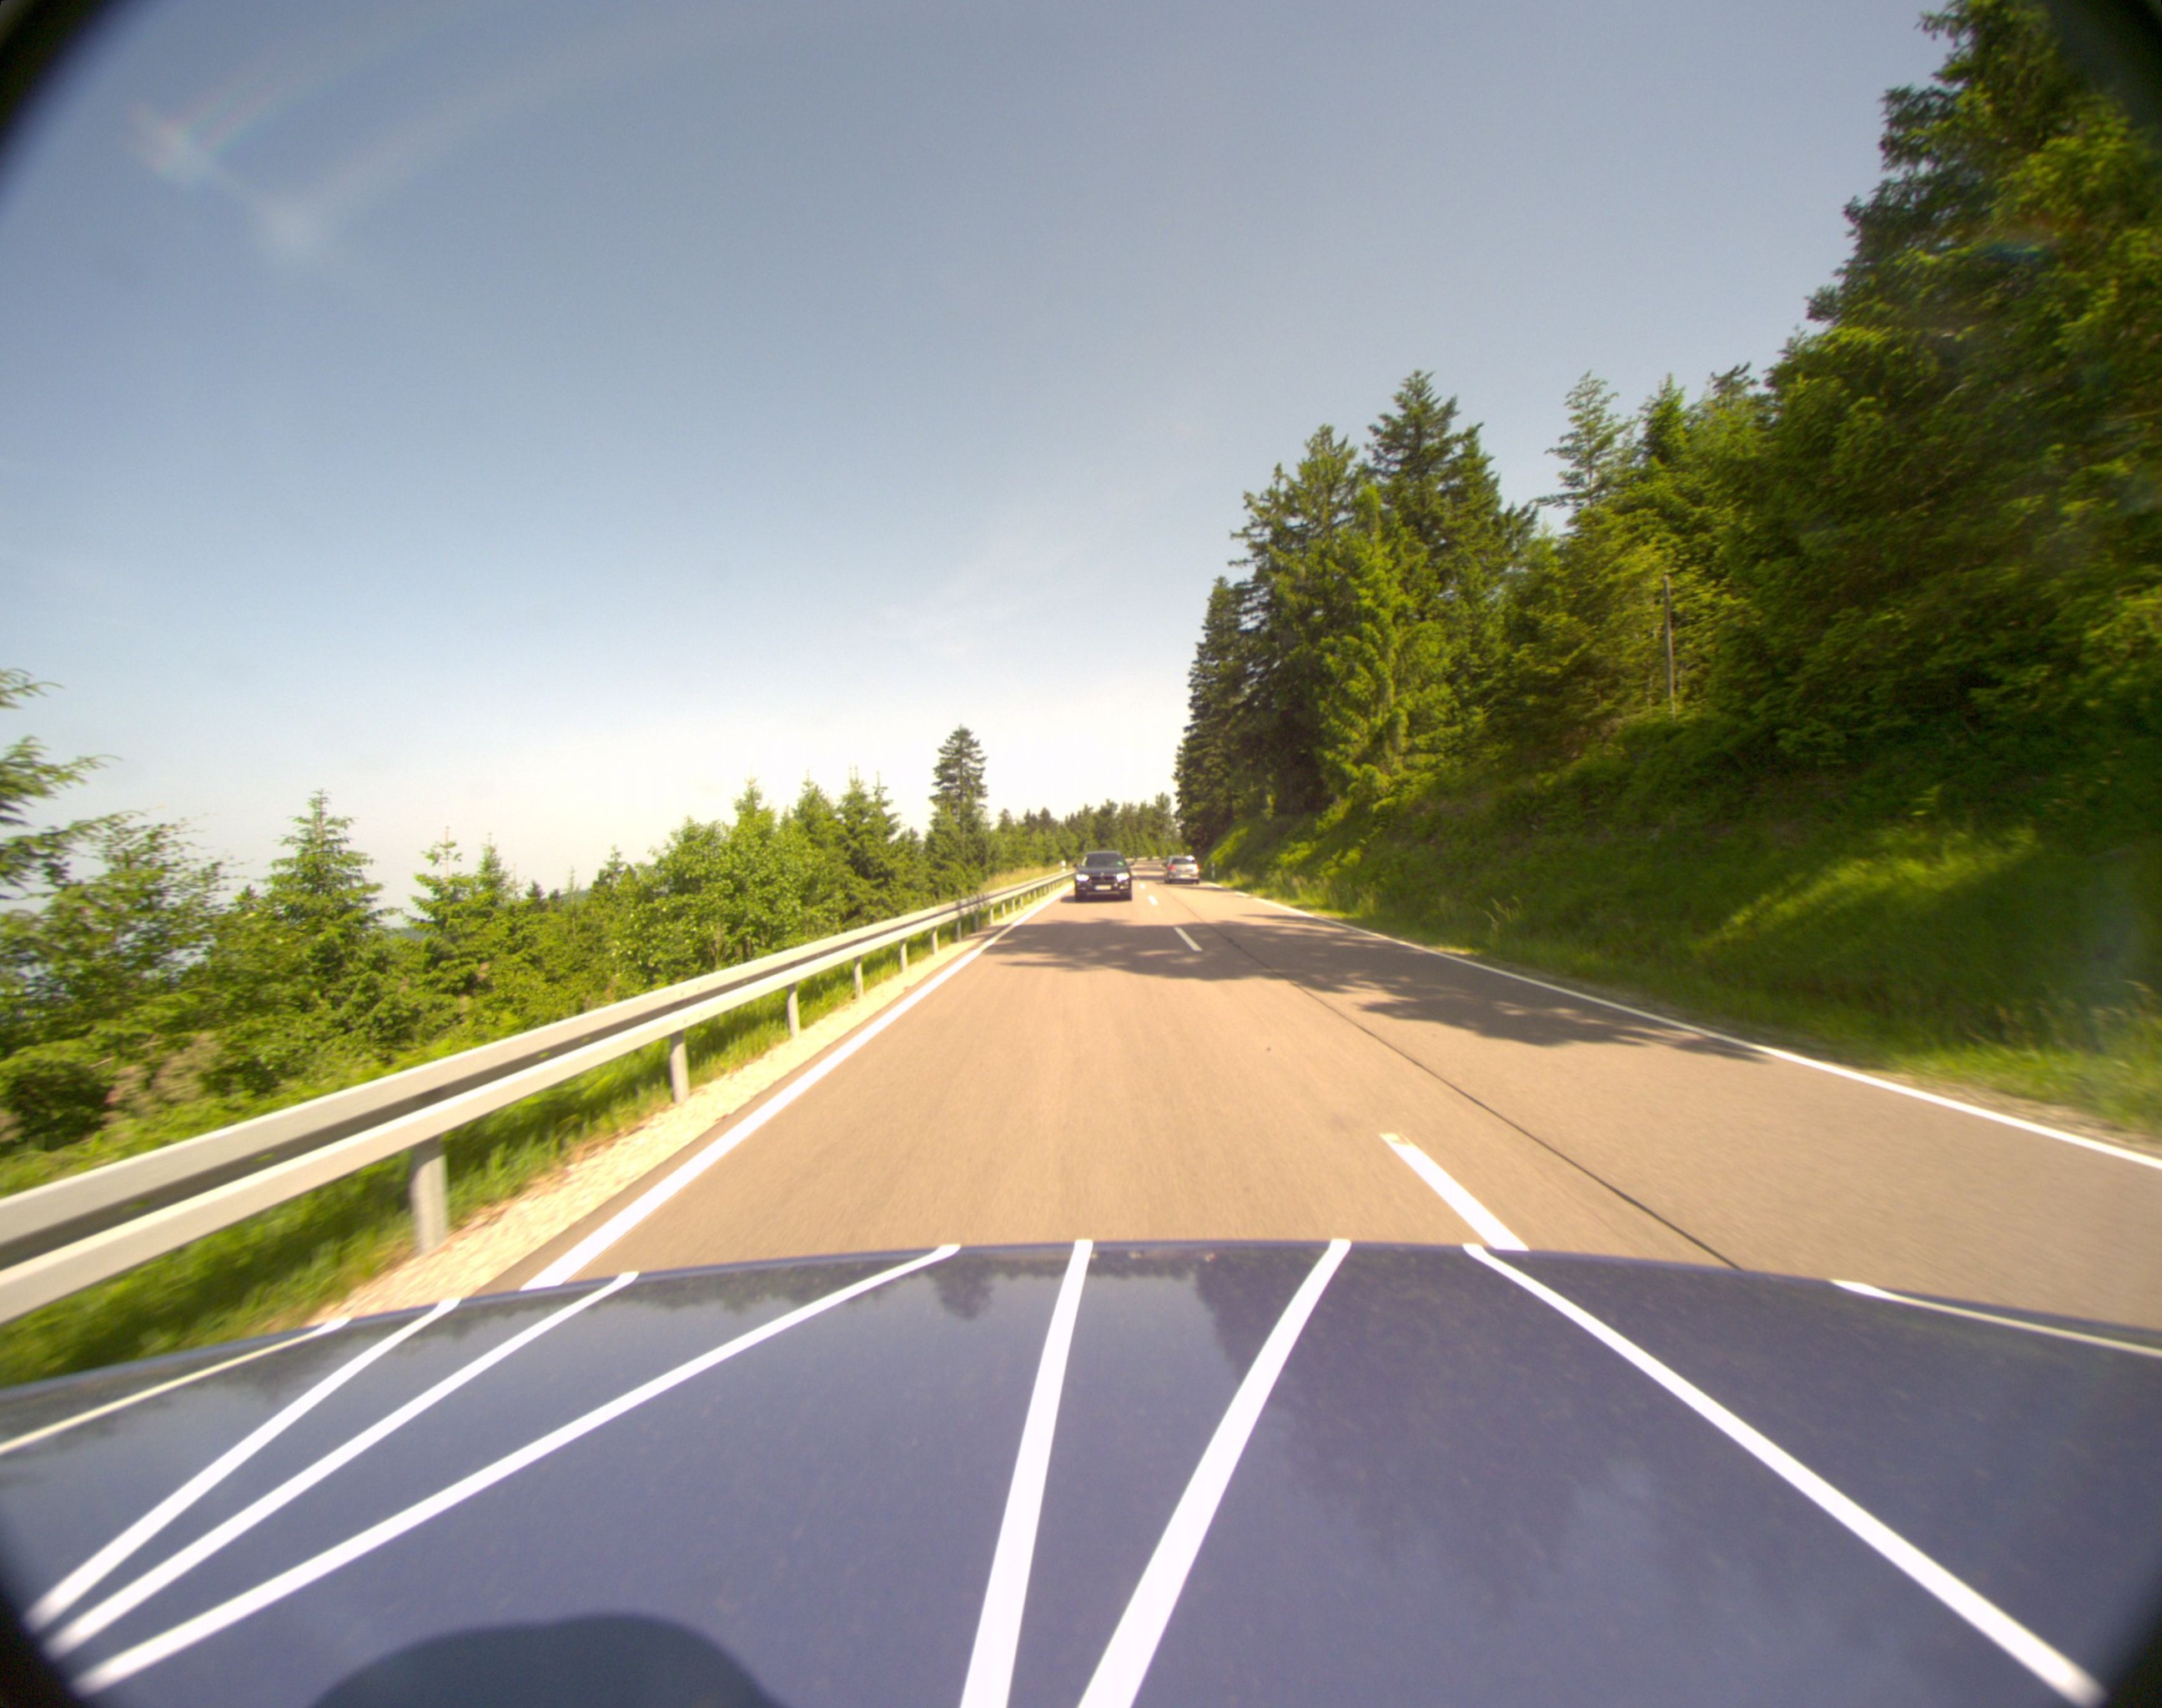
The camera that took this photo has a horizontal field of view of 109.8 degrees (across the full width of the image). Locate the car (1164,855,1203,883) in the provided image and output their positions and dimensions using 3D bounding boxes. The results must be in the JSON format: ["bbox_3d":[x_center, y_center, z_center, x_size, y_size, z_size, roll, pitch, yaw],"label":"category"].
[{"bbox_3d":[5.247,0.740,39.296,1.688,1.406,3.263,0,0,2],"label":"car"}]

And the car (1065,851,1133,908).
[{"bbox_3d":[0.716,0.778,25.721,1.998,1.676,5.938,-1,0,3],"label":"car"}]
